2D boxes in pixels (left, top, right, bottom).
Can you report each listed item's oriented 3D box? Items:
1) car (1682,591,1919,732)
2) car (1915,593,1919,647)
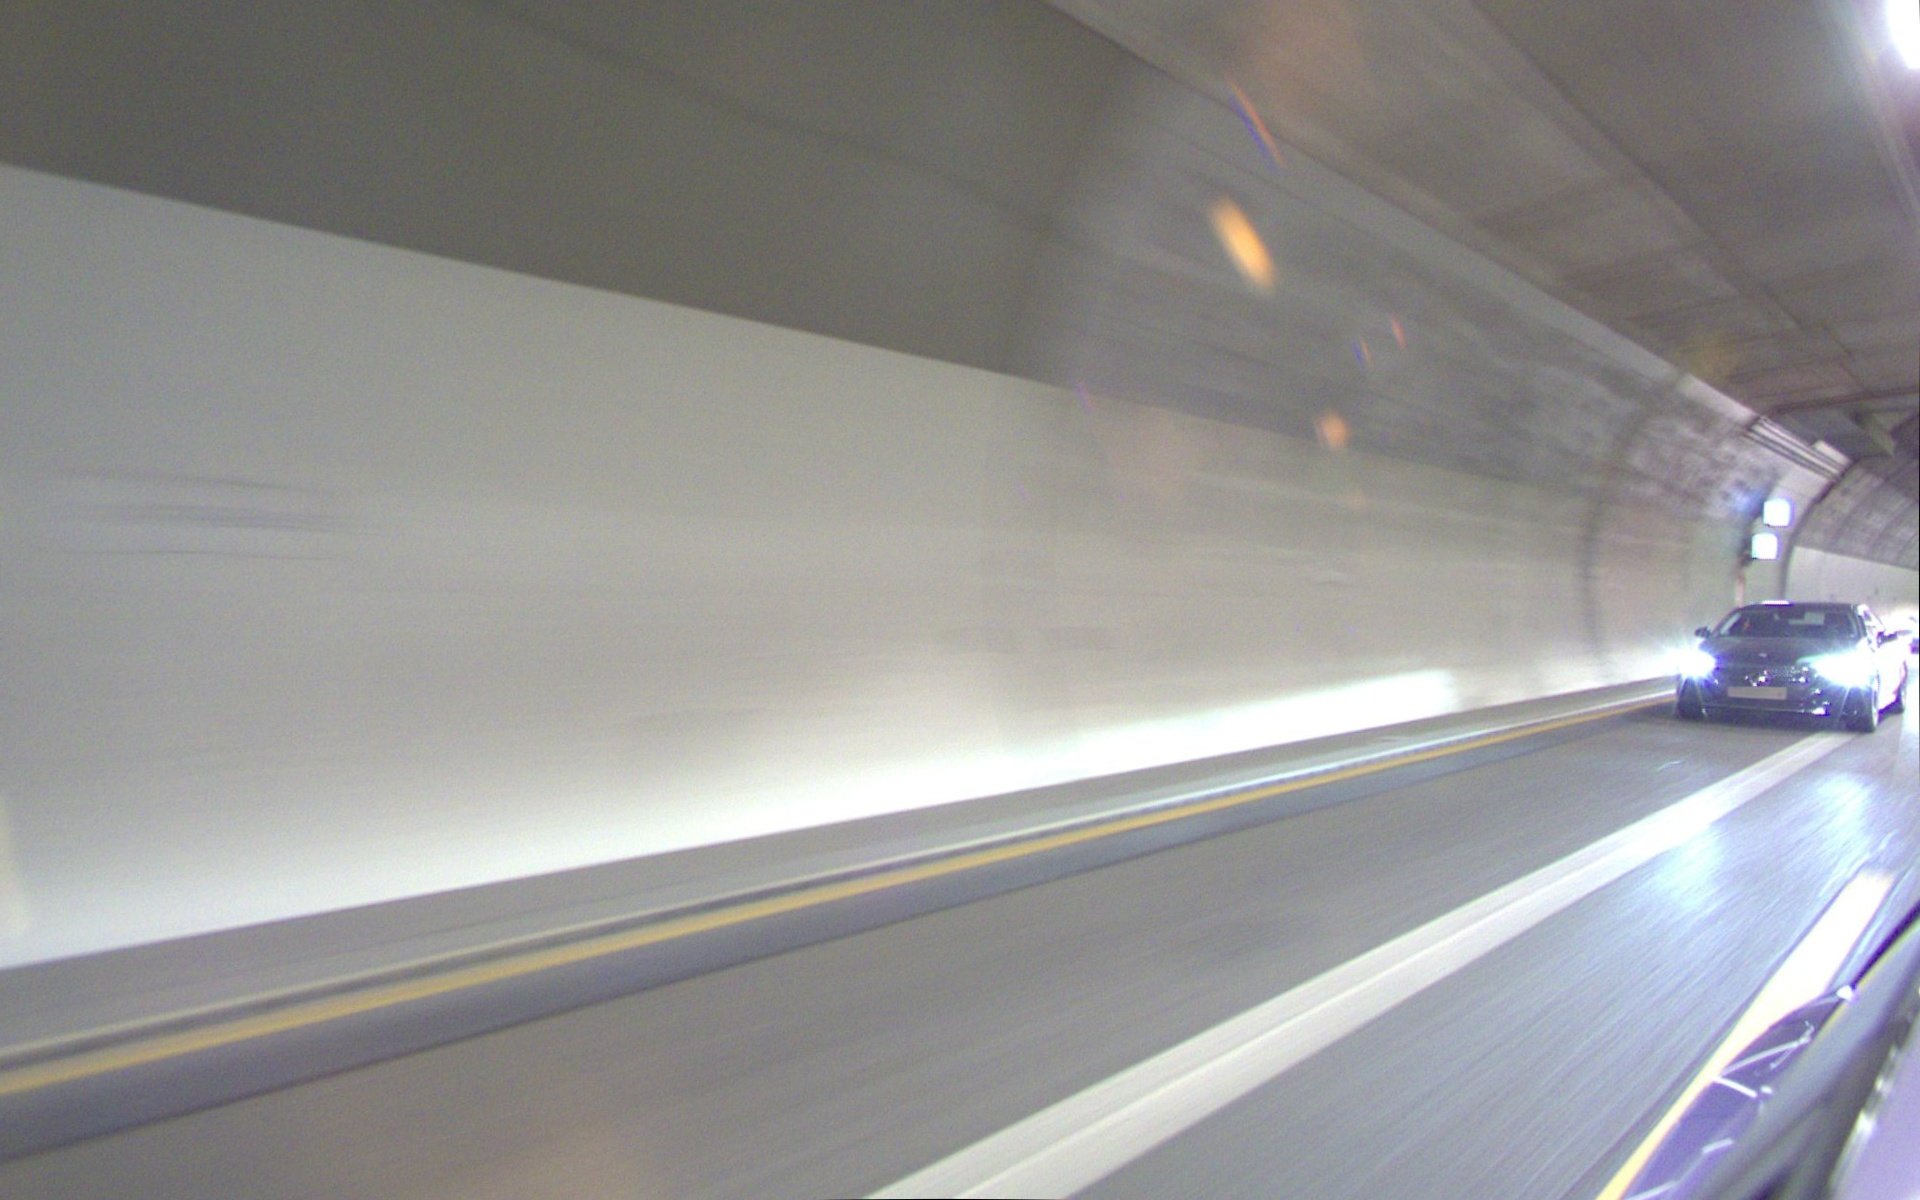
[{"bbox_3d":[10.951,0.647,13.010,4.444,1.496,1.823,0,1,-42],"label":"car"},{"bbox_3d":[29.831,0.566,29.914,4.661,1.559,1.996,-1,1,-42],"label":"car"}]
